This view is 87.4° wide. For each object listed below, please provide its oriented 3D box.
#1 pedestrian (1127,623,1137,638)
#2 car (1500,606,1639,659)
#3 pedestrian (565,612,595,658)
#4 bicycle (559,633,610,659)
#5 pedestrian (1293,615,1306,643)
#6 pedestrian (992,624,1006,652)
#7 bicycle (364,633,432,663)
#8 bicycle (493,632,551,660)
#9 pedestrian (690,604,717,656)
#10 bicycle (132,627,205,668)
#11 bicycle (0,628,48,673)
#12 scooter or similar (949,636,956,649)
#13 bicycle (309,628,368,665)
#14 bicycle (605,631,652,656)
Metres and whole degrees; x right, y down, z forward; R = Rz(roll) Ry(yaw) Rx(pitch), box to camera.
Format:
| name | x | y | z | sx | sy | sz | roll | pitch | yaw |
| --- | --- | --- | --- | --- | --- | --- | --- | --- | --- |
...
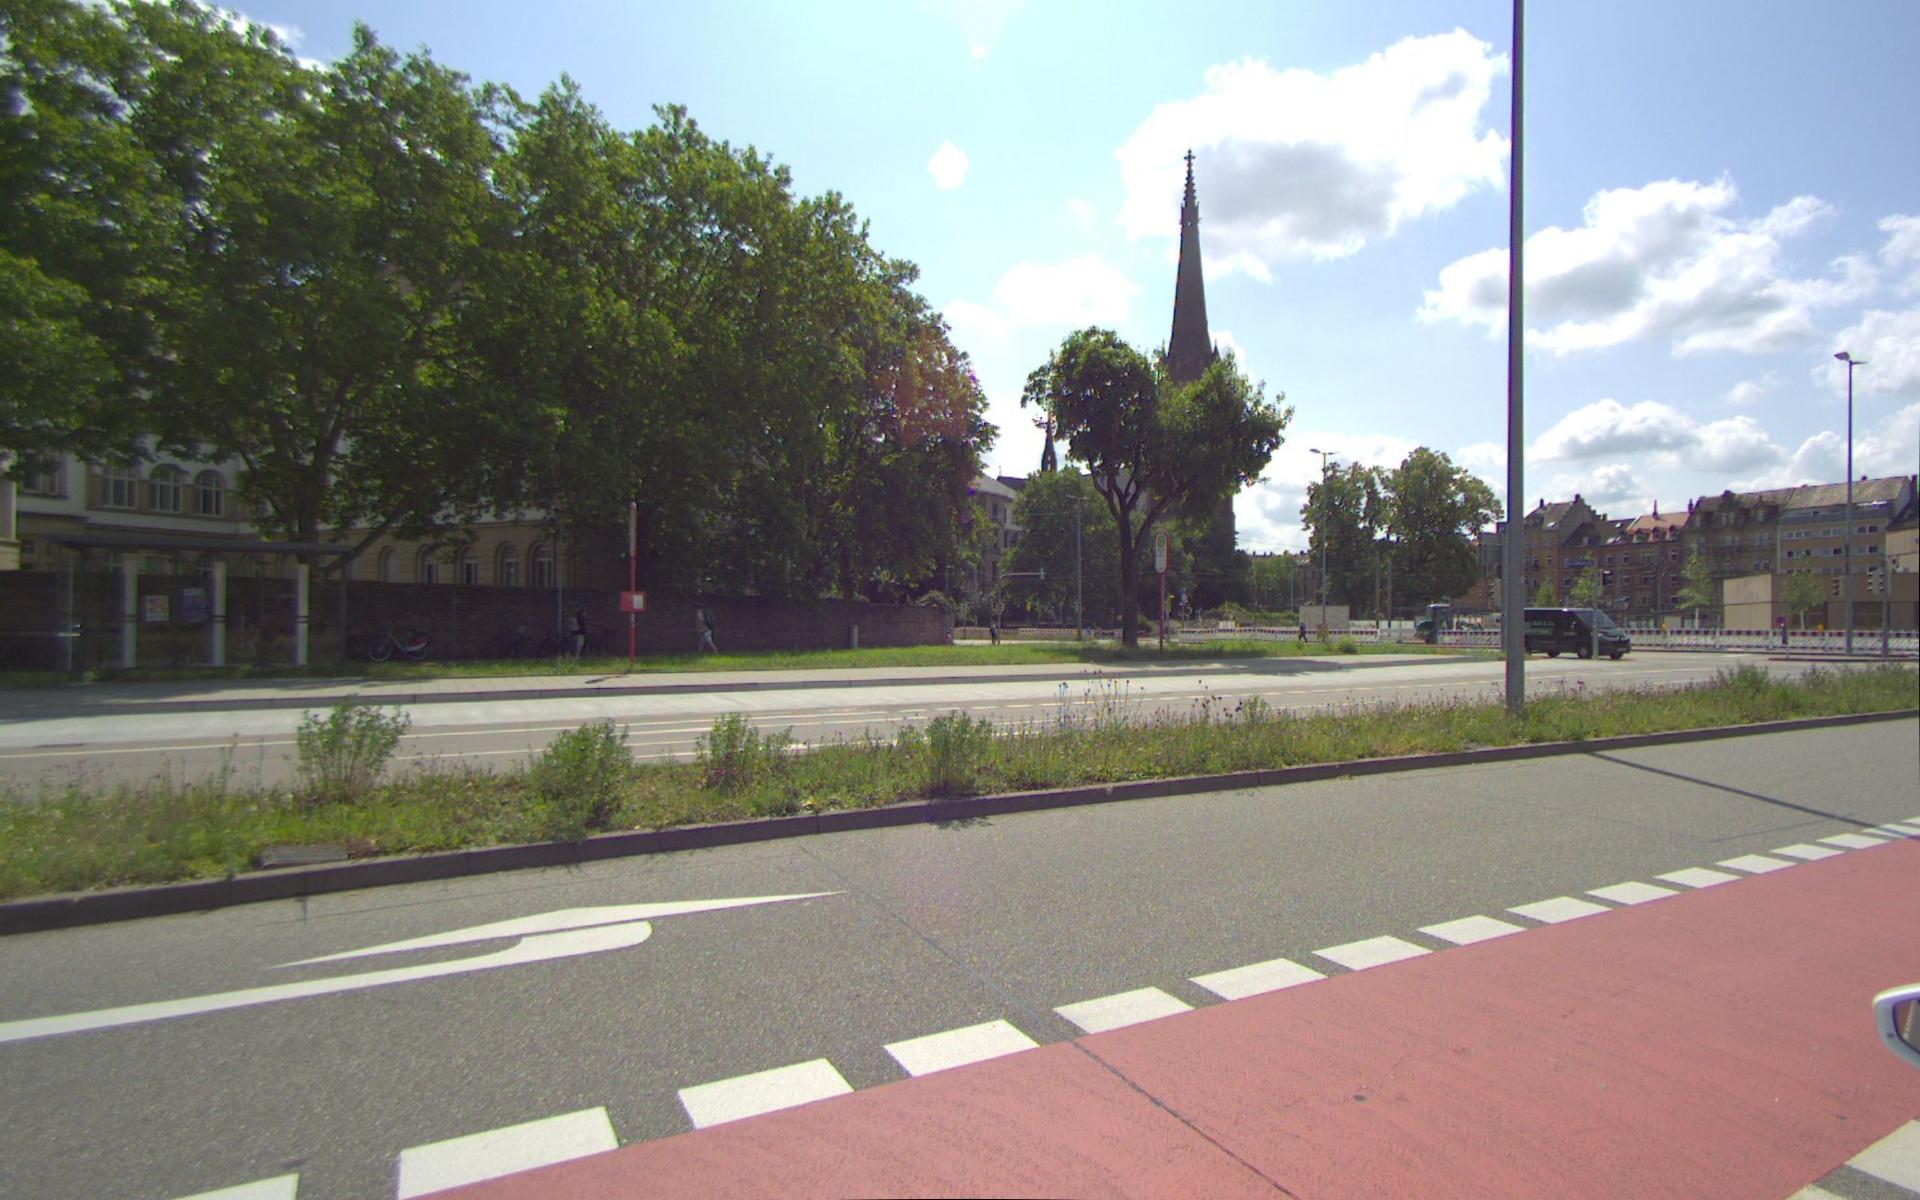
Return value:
| name | x | y | z | sx | sy | sz | roll | pitch | yaw |
| --- | --- | --- | --- | --- | --- | --- | --- | --- | --- |
| pedestrian | 19.463 | 3.456 | 113.659 | 0.842 | 1.685 | 0.751 | 0 | -1 | 29 |
| car | 26.746 | 1.457 | 44.293 | 2.122 | 2.204 | 4.997 | 0 | -3 | -20 |
| pedestrian | -12.047 | 1.104 | 31.832 | 0.720 | 1.413 | 0.714 | 1 | -1 | -35 |
| bicycle | -12.763 | 1.550 | 34.155 | 0.324 | 0.828 | 1.743 | 0 | -1 | 36 |
| pedestrian | 24.429 | 2.083 | 72.281 | 0.625 | 2.040 | 0.643 | 1 | -1 | -32 |
| pedestrian | 2.908 | 2.815 | 74.681 | 0.713 | 2.040 | 0.721 | 1 | -1 | -32 |
| bicycle | -16.223 | 1.378 | 29.014 | 0.324 | 0.828 | 1.743 | 0 | -1 | 36 |
| bicycle | -14.011 | 1.461 | 32.188 | 0.378 | 0.828 | 1.743 | 0 | -1 | 36 |
| pedestrian | -7.376 | 0.860 | 28.884 | 0.627 | 1.492 | 0.506 | 1 | -1 | -32 |
| bicycle | -19.400 | 1.156 | 24.646 | 0.260 | 0.977 | 1.391 | 0 | -1 | 36 |
| bicycle | -21.240 | 1.124 | 22.325 | 0.260 | 0.977 | 1.391 | 0 | -1 | 36 |
| scooter or similar | -0.421 | 2.477 | 58.984 | 0.117 | 0.721 | 1.005 | 0 | -1 | 17 |
| bicycle | -17.142 | 1.264 | 27.716 | 0.260 | 0.977 | 1.391 | 0 | -1 | 36 |
| bicycle | -11.758 | 1.529 | 35.682 | 0.324 | 0.828 | 1.743 | 0 | -1 | 36 |
